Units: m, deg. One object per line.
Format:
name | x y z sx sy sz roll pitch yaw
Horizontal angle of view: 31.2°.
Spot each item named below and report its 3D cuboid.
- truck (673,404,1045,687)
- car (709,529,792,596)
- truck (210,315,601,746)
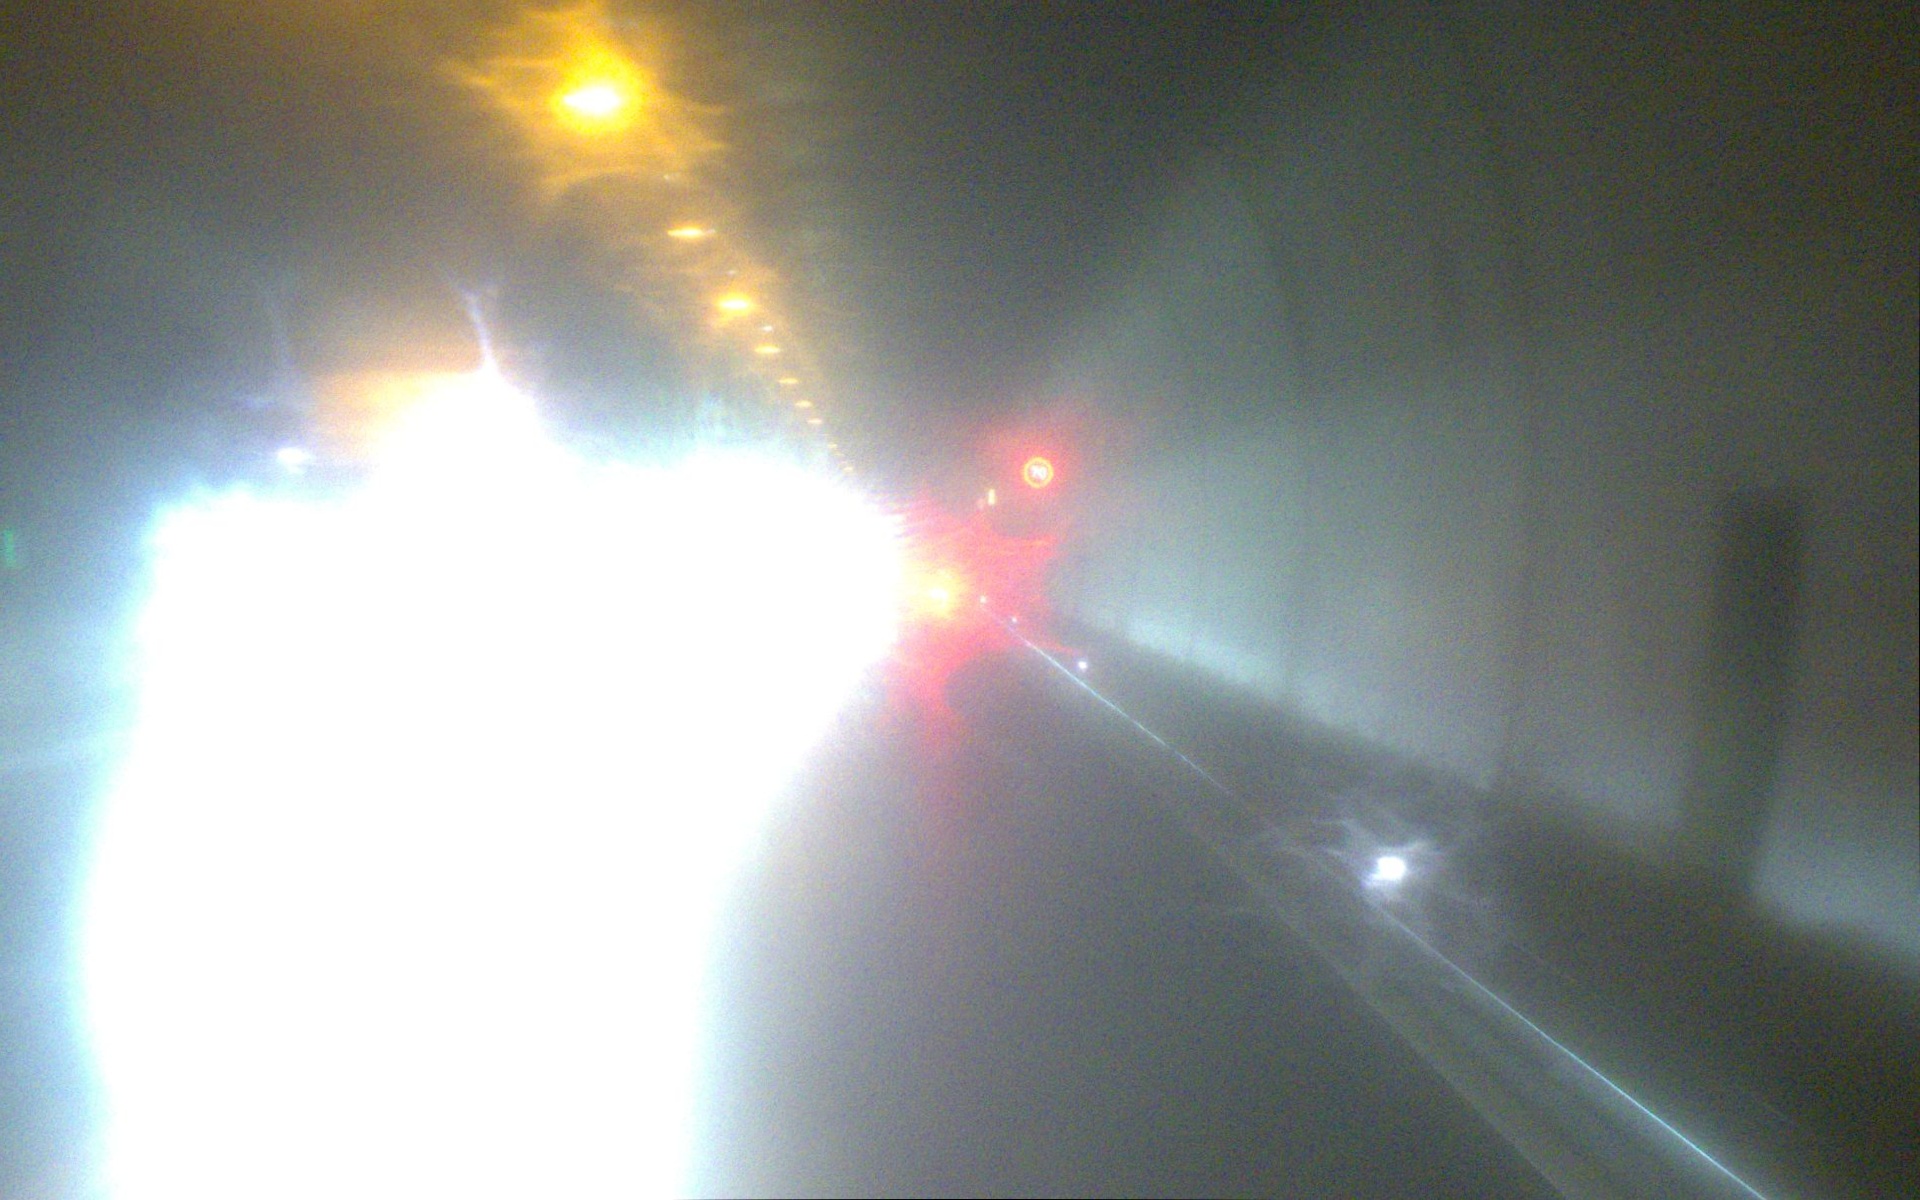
truck | -1.018 -0.594 37.377 3.535 2.684 8.956 0 1 -1
car | -4.744 -0.879 78.305 1.794 1.477 3.869 0 1 -2
truck | -4.240 -0.548 27.457 2.279 3.006 6.595 1 1 -2
